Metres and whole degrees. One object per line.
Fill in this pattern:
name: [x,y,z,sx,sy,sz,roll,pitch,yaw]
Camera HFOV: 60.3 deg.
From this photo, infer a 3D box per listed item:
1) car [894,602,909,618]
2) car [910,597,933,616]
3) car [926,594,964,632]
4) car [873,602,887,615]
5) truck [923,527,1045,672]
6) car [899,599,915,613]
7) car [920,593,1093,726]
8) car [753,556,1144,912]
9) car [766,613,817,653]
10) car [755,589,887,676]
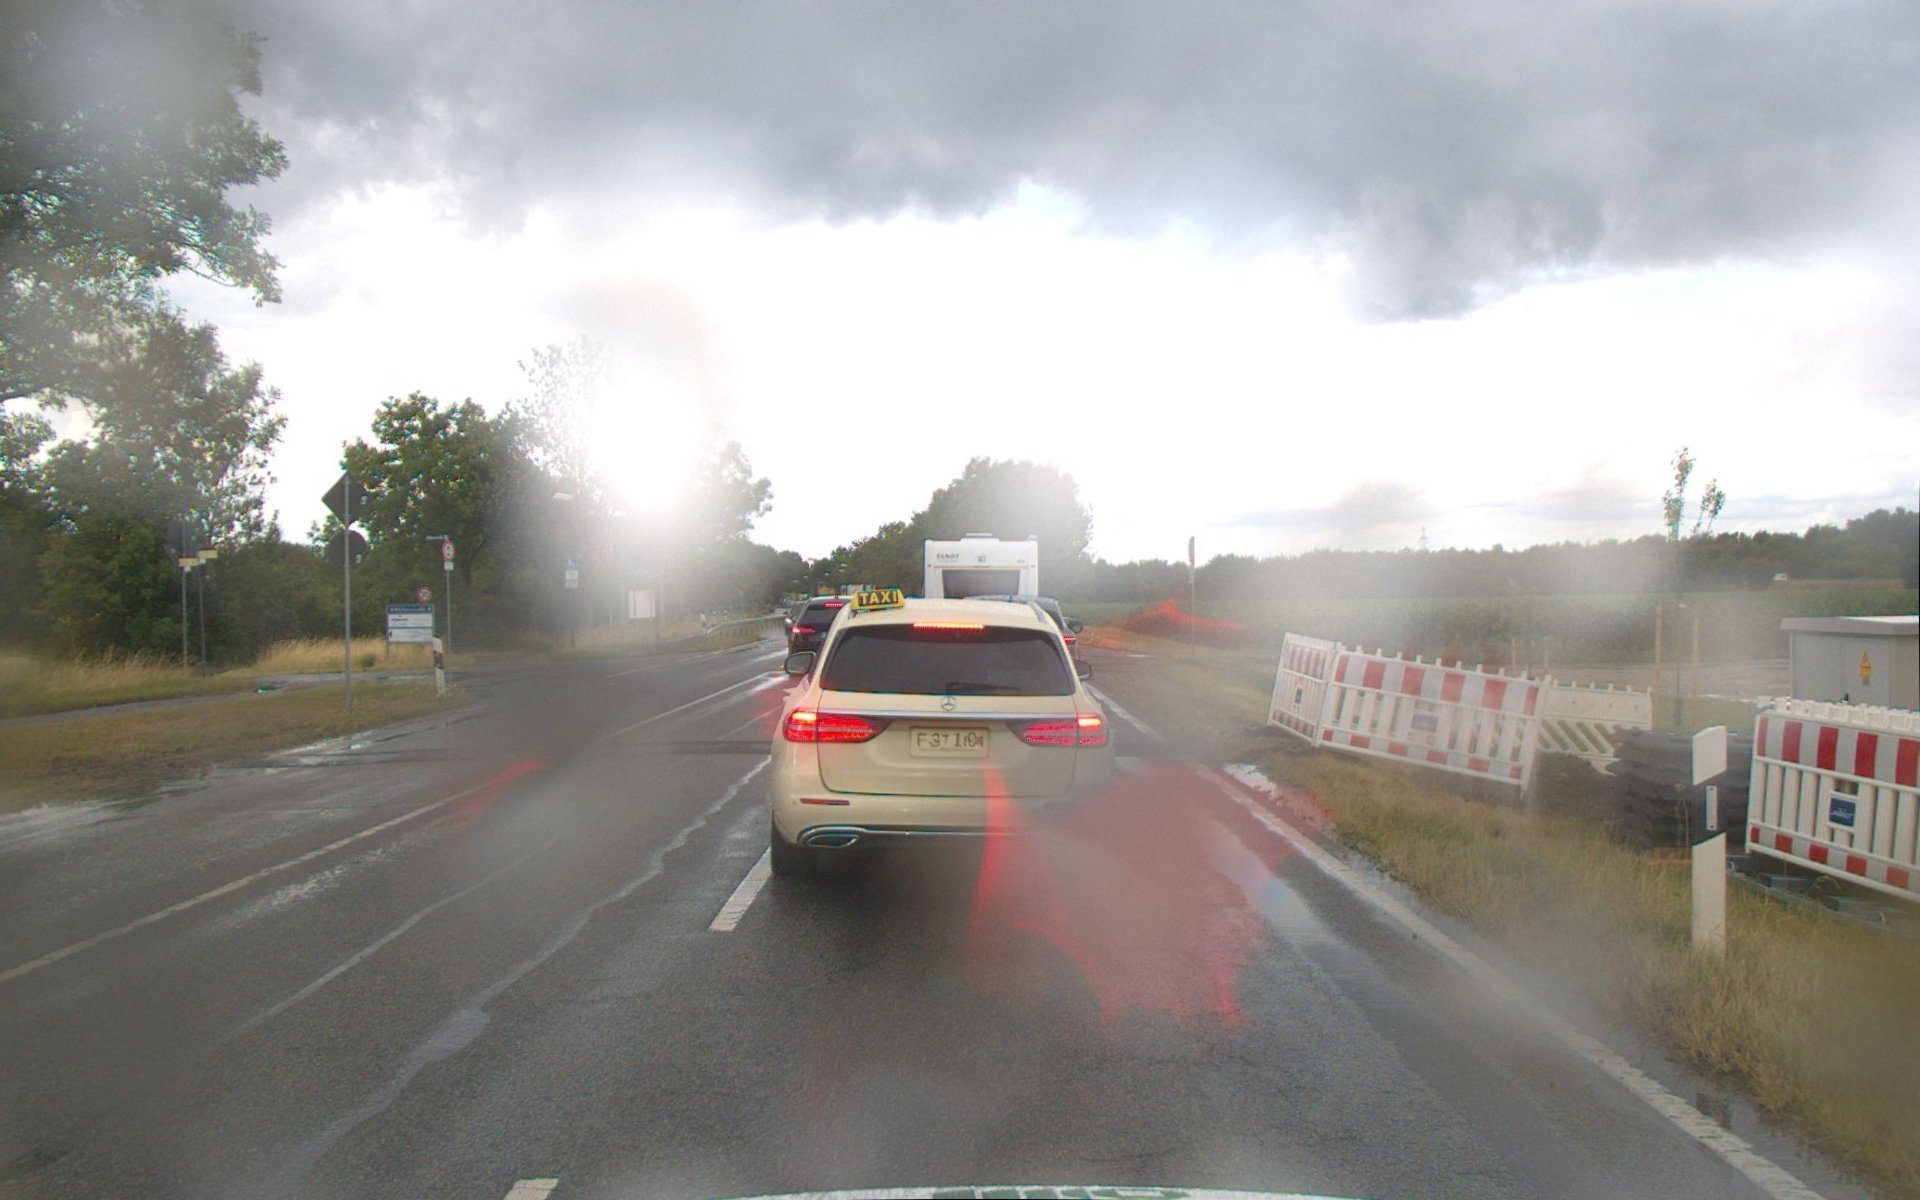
car: [-7.418,1.228,209.606,1.858,1.928,3.840,-1,0,-4]
car: [-3.612,0.598,155.514,1.954,1.803,3.996,-1,0,-5]
car: [-0.784,0.650,85.219,1.876,1.873,3.795,-1,0,-1]
car: [-12.147,1.330,250.830,1.856,1.872,3.881,-1,0,-1]
truck: [0.419,-0.018,35.612,2.315,2.776,7.313,-1,0,-1]
car: [-6.319,0.706,196.641,1.715,1.691,3.668,-1,0,-6]
car: [0.507,0.687,20.929,1.953,1.488,3.999,1,0,-1]
car: [-0.076,0.627,9.686,1.805,1.646,3.999,0,0,-1]
car: [-6.751,1.312,66.640,1.685,1.429,4.042,-2,0,-1]
car: [-2.669,0.612,32.899,2.255,1.574,4.631,1,0,-1]
